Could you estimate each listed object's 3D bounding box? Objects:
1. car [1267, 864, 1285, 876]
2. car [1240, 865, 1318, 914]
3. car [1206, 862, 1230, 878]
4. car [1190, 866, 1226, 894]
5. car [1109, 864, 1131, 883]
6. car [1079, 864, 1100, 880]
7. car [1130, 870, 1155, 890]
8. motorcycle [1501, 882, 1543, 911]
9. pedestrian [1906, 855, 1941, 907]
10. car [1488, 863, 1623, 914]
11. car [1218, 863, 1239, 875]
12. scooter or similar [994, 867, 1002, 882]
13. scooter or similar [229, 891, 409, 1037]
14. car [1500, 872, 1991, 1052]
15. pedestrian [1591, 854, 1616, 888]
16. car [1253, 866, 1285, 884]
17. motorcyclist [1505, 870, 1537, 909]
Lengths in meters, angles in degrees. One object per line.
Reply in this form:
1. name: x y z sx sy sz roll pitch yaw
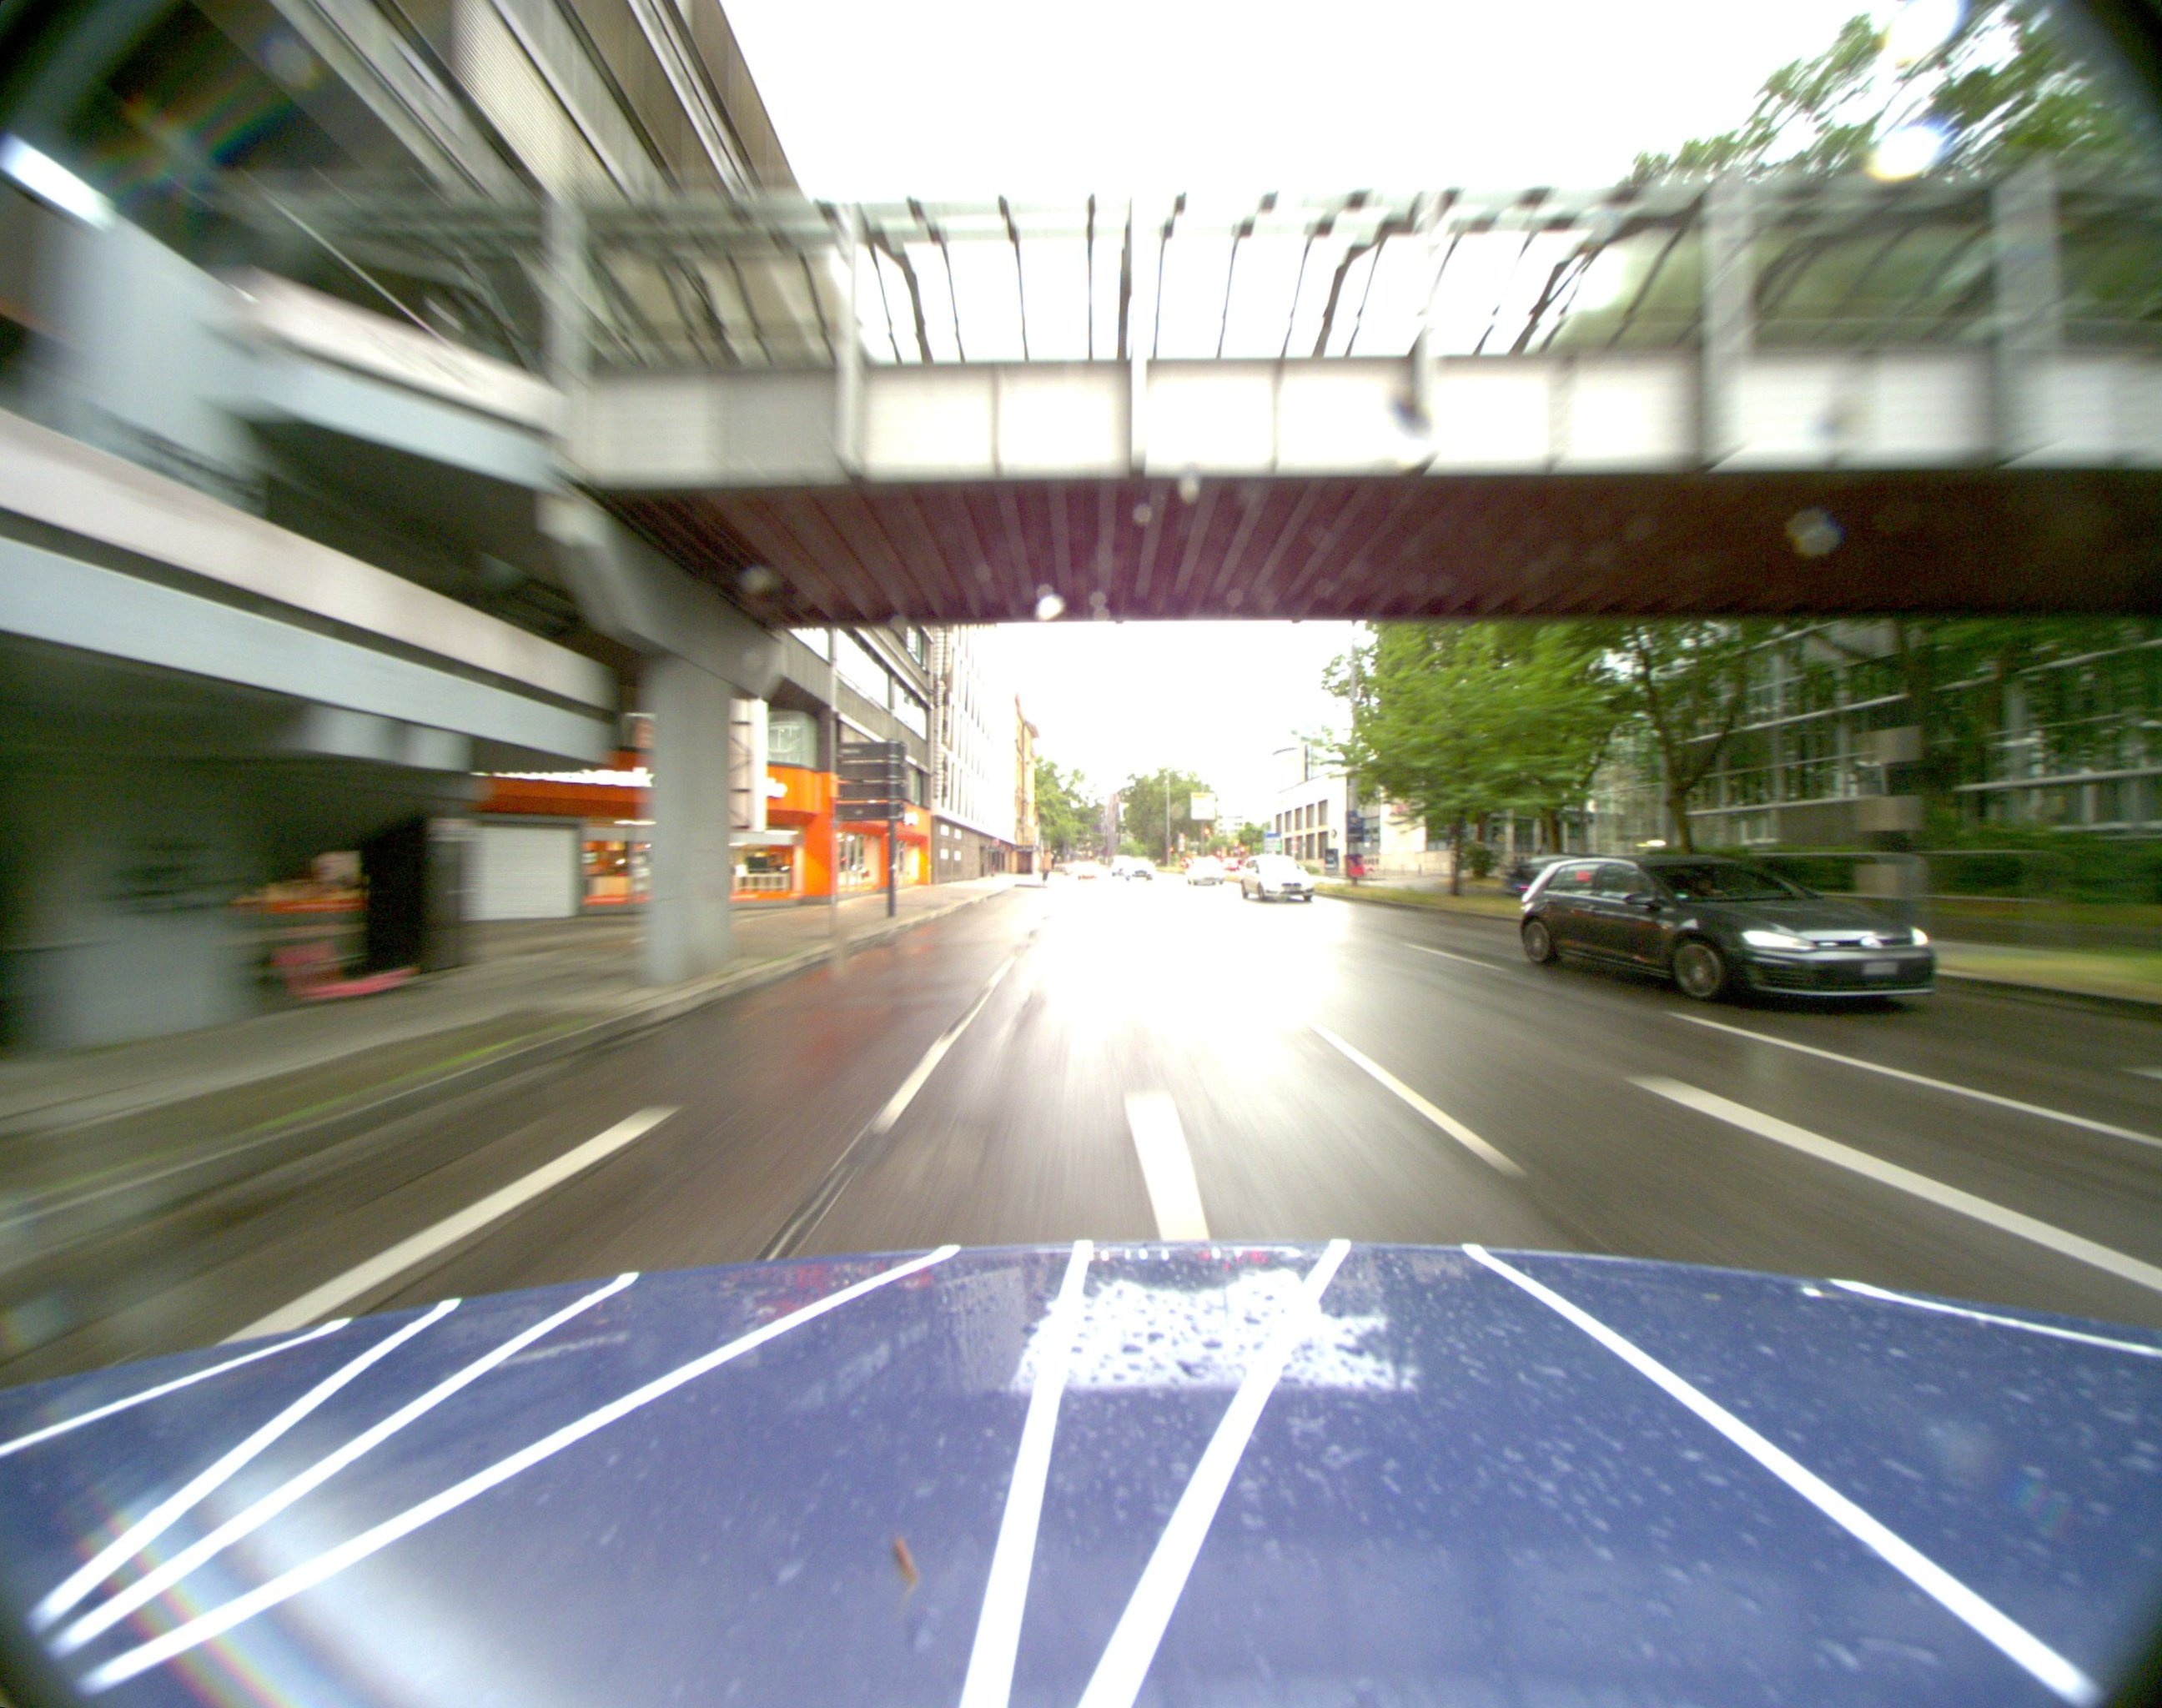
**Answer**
1. car: 23.244 1.886 90.724 1.595 1.407 3.402 0 0 5
2. car: 7.109 1.237 27.659 1.781 1.586 4.000 -1 0 0
3. car: 14.925 1.763 83.057 1.878 1.670 4.681 0 0 1
4. car: 7.319 1.474 43.999 1.611 1.432 3.495 -3 0 3
5. car: 3.611 1.800 70.914 1.998 1.733 3.911 -1 -1 2
6. car: 0.714 1.475 62.825 1.716 1.274 3.494 0 -1 0
7. car: 4.517 1.880 55.616 1.716 1.432 3.496 1 -1 6
8. motorcycle: 16.661 1.587 28.749 0.586 1.015 1.805 0 -1 1
9. pedestrian: 27.670 0.889 24.969 0.561 1.676 0.511 -1 -1 1
10. car: 18.895 1.305 30.611 2.005 1.757 5.185 3 -1 -1
11. car: 17.816 1.823 92.176 1.695 1.430 4.759 0 0 1
12. scooter or similar: -6.959 1.678 63.691 0.412 1.229 1.190 -1 0 9
13. scooter or similar: -7.449 1.023 7.505 0.350 1.248 1.395 -1 0 1
14. car: 6.794 0.962 8.515 1.789 1.443 4.122 -1 -1 -2
15. pedestrian: 27.745 0.915 40.346 0.736 1.797 0.802 -1 -1 1
16. car: 16.424 1.813 66.606 1.666 1.455 4.081 2 0 -1
17. motorcyclist: 16.659 1.327 28.783 0.639 1.410 0.970 0 0 1
